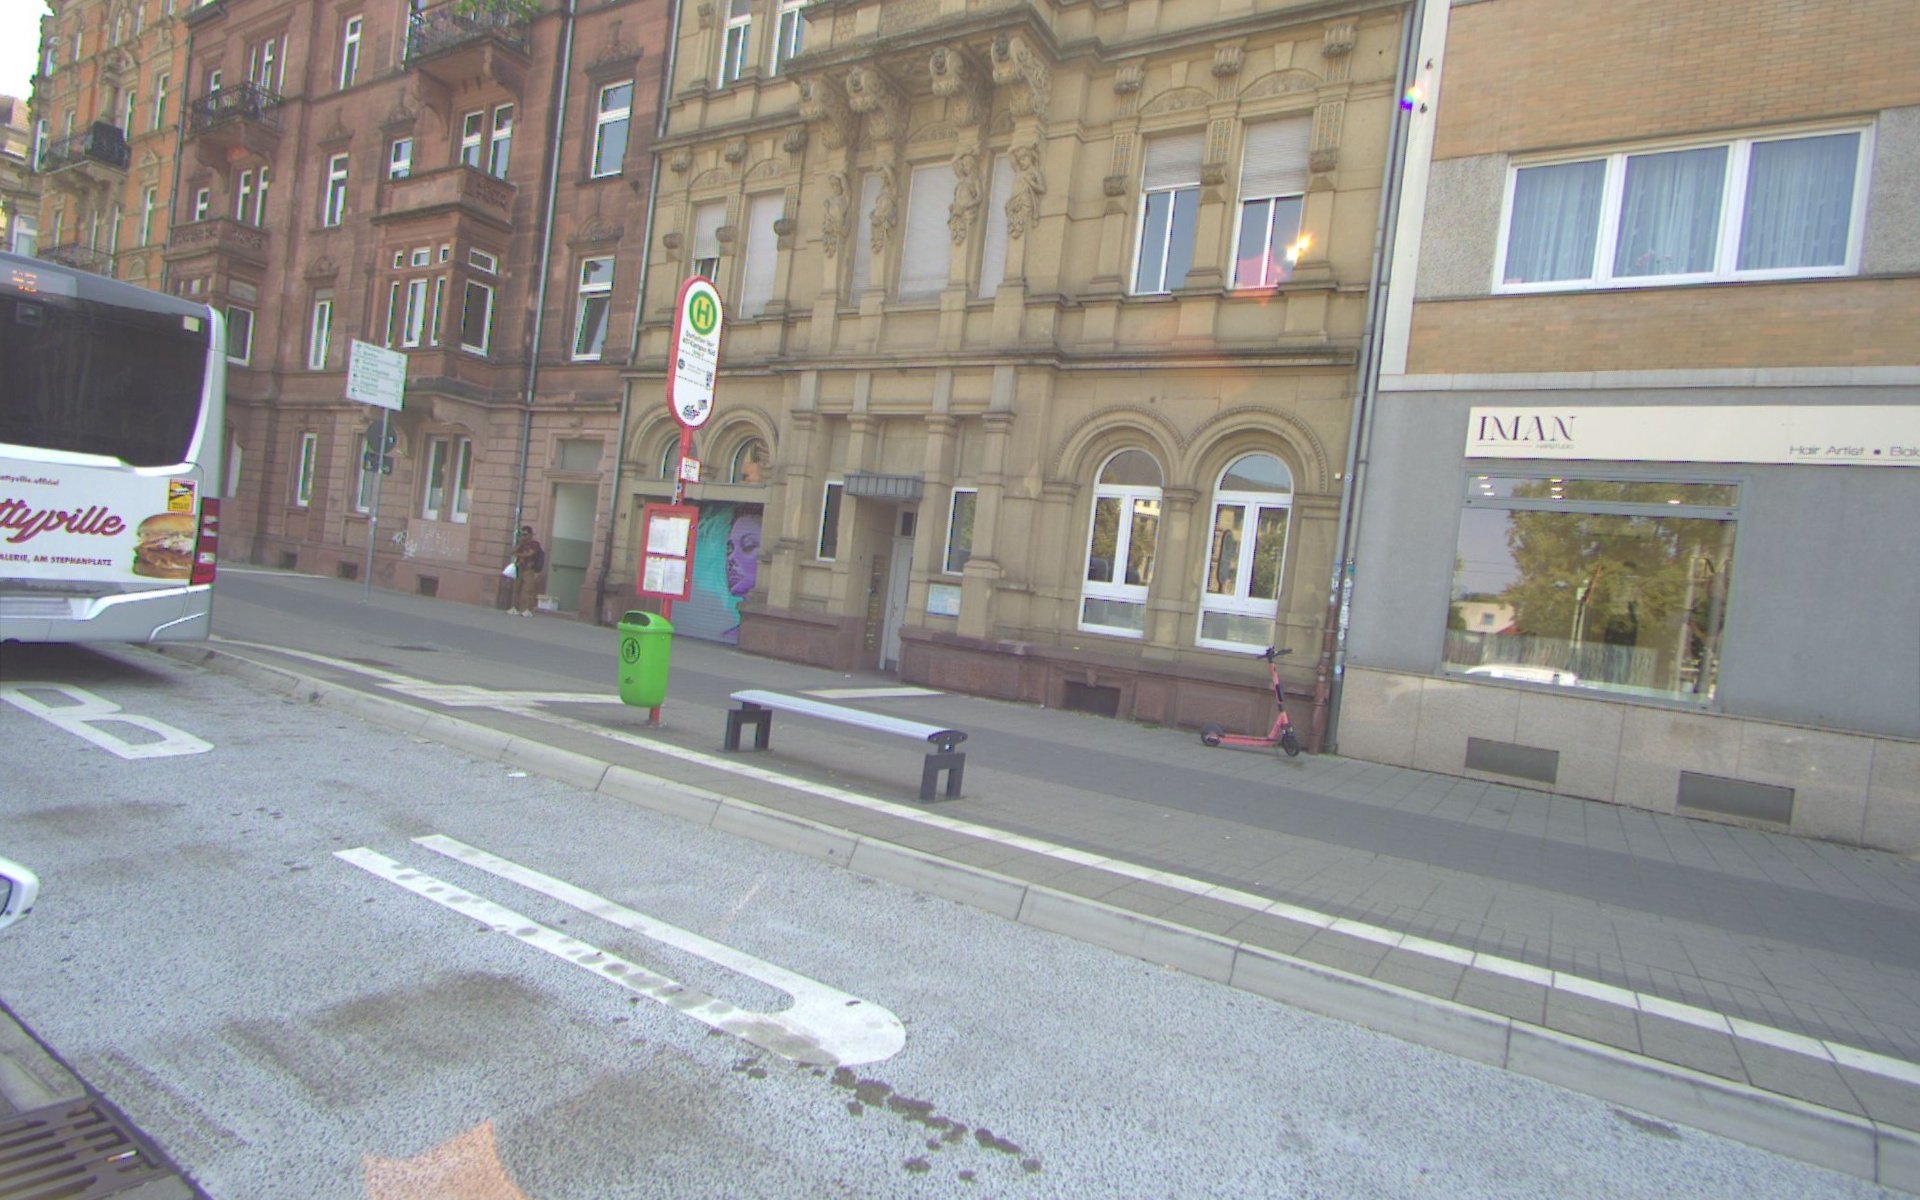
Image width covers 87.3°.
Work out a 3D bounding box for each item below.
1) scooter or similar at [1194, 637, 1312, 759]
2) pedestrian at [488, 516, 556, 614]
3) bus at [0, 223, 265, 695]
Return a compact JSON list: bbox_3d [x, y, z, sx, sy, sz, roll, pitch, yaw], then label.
[{"bbox_3d":[3.391,1.111,11.652,1.122,1.228,0.476,7,1,27],"label":"scooter or similar"},{"bbox_3d":[-8.556,-0.667,19.691,0.729,1.800,0.870,7,1,4],"label":"pedestrian"},{"bbox_3d":[-11.241,-1.491,10.111,11.762,3.149,2.742,7,3,33],"label":"bus"}]
